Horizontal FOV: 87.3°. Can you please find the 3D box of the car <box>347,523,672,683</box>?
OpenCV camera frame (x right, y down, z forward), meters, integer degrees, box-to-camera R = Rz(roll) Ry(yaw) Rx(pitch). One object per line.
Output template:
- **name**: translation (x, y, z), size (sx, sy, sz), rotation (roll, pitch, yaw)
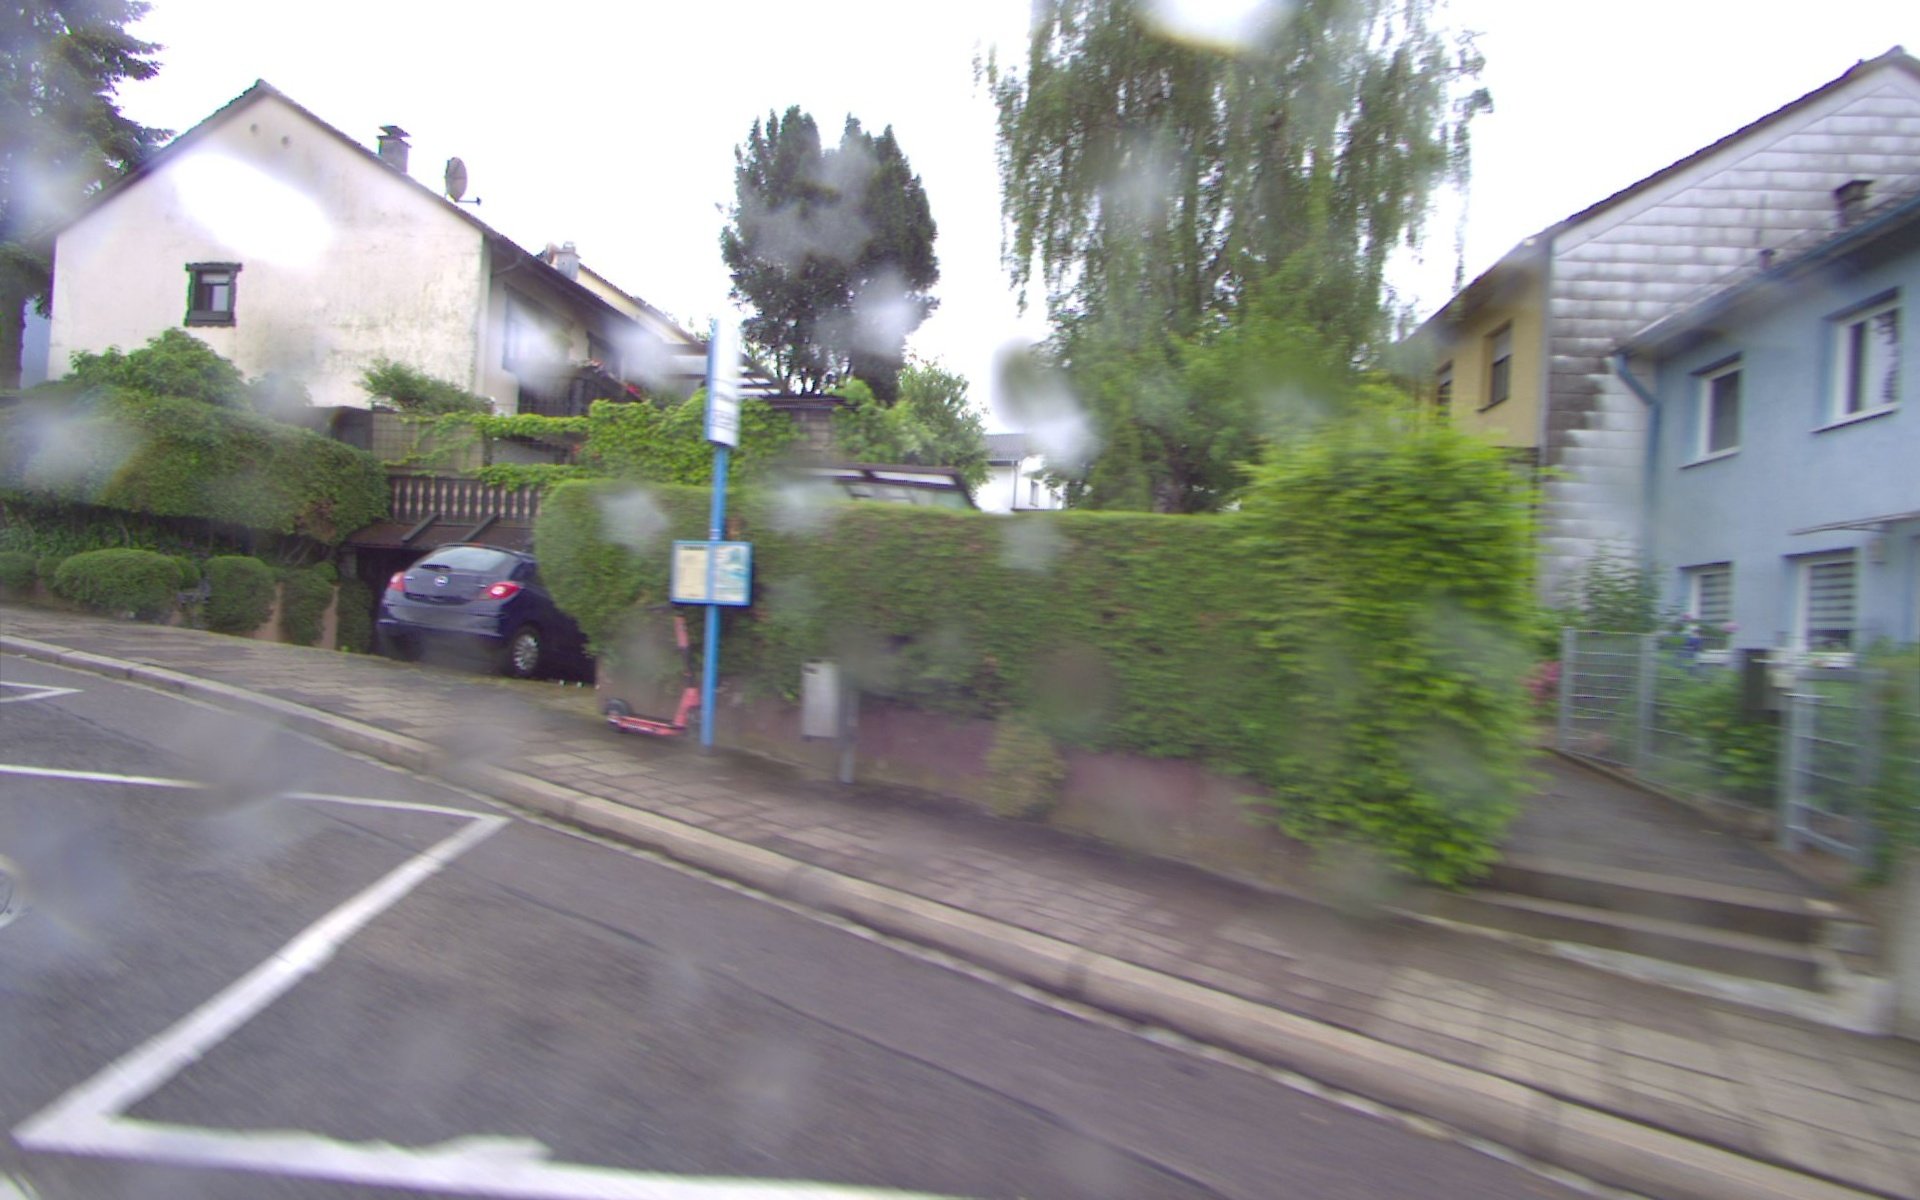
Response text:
- **car**: translation (-5.277, 0.160, 12.410), size (1.738, 1.310, 3.721), rotation (6, -7, 11)
